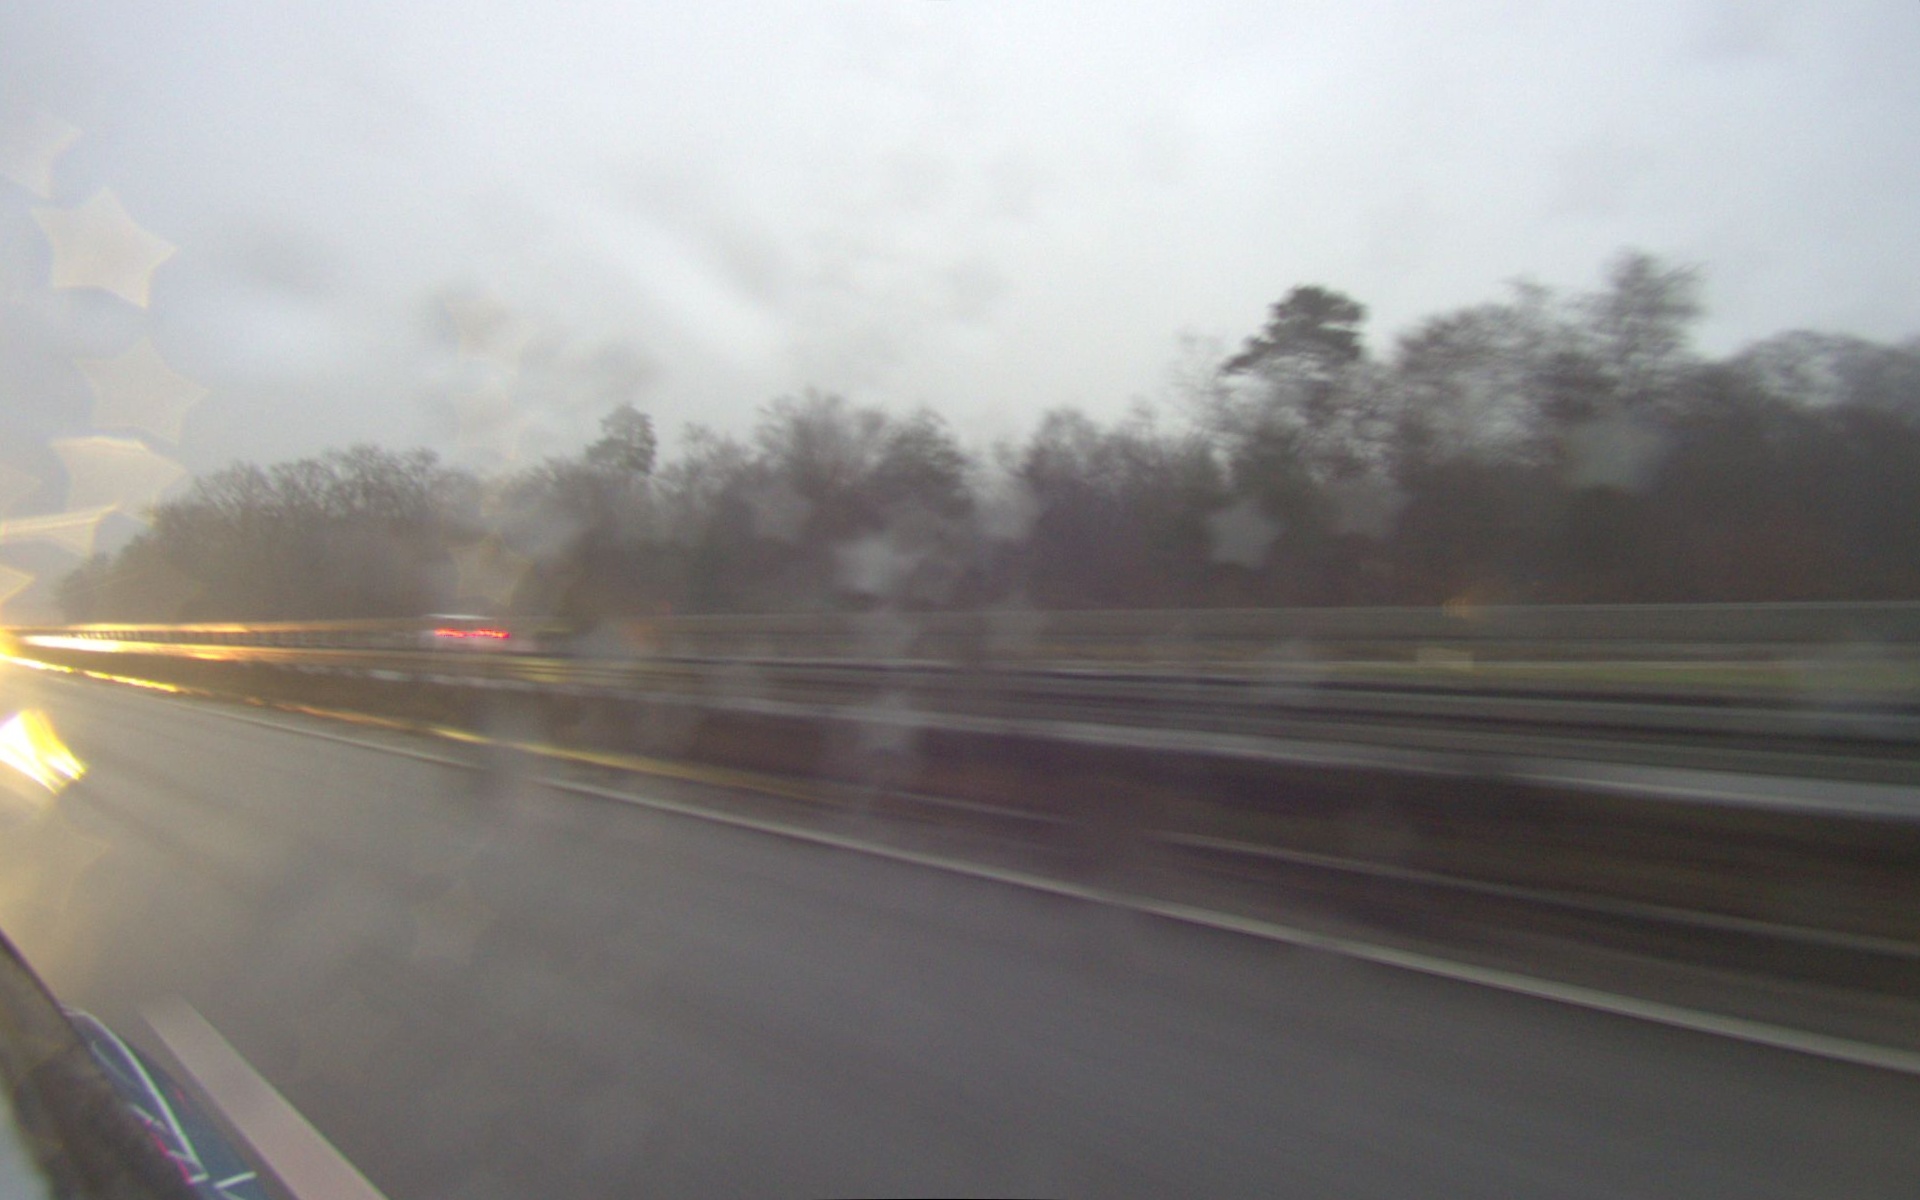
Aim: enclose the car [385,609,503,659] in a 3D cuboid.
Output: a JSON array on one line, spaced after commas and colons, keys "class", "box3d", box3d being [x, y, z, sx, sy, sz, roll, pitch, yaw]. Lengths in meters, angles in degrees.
[{"class": "car", "box3d": [-17.783, 1.174, 34.783, 4.957, 1.601, 1.972, -2, -2, 42]}]
